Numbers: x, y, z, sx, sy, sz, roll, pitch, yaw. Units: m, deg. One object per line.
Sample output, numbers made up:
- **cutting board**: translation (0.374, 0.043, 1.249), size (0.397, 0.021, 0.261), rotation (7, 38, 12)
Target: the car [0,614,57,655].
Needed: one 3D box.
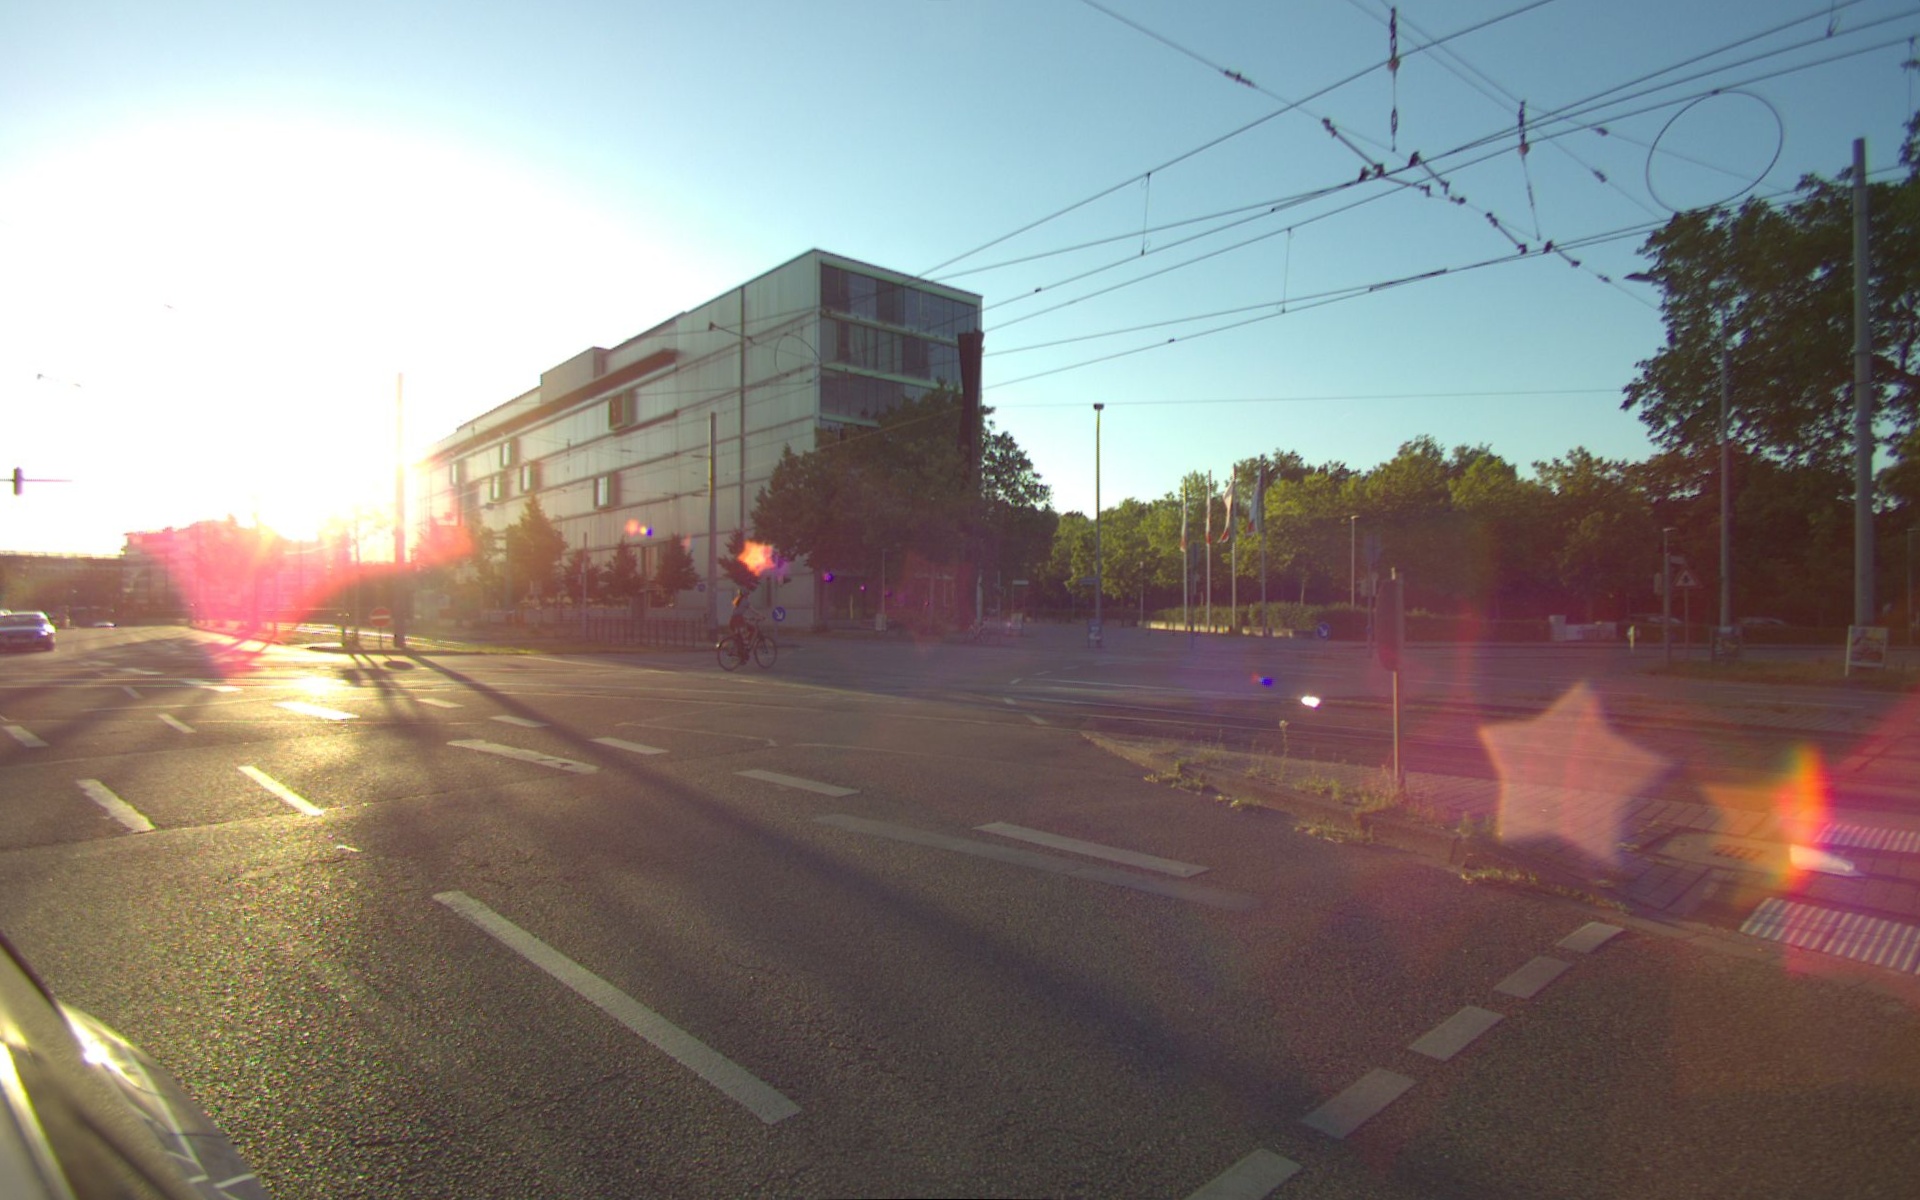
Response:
- **car**: translation (-34.265, 1.219, 36.839), size (1.969, 1.431, 4.006), rotation (1, -1, -40)

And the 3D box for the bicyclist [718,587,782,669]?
- **bicyclist**: translation (-4.573, 0.609, 22.031), size (0.980, 1.731, 1.037), rotation (1, -1, -40)

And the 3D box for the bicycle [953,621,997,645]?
- **bicycle**: translation (0.760, 1.629, 49.823), size (2.356, 1.144, 0.702), rotation (1, -1, -43)

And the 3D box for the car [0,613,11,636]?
- **car**: translation (-61.313, 1.522, 63.918), size (1.970, 1.431, 4.004), rotation (1, -1, -43)

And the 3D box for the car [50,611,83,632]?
- **car**: translation (-75.078, 1.772, 84.997), size (1.970, 1.719, 4.004), rotation (1, -1, -43)

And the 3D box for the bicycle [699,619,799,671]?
- **bicycle**: translation (-4.577, 0.961, 22.047), size (2.089, 1.076, 0.637), rotation (1, -1, -40)

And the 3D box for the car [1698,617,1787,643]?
- **car**: translation (48.704, 1.821, 63.070), size (1.968, 1.573, 4.008), rotation (1, -1, -38)
